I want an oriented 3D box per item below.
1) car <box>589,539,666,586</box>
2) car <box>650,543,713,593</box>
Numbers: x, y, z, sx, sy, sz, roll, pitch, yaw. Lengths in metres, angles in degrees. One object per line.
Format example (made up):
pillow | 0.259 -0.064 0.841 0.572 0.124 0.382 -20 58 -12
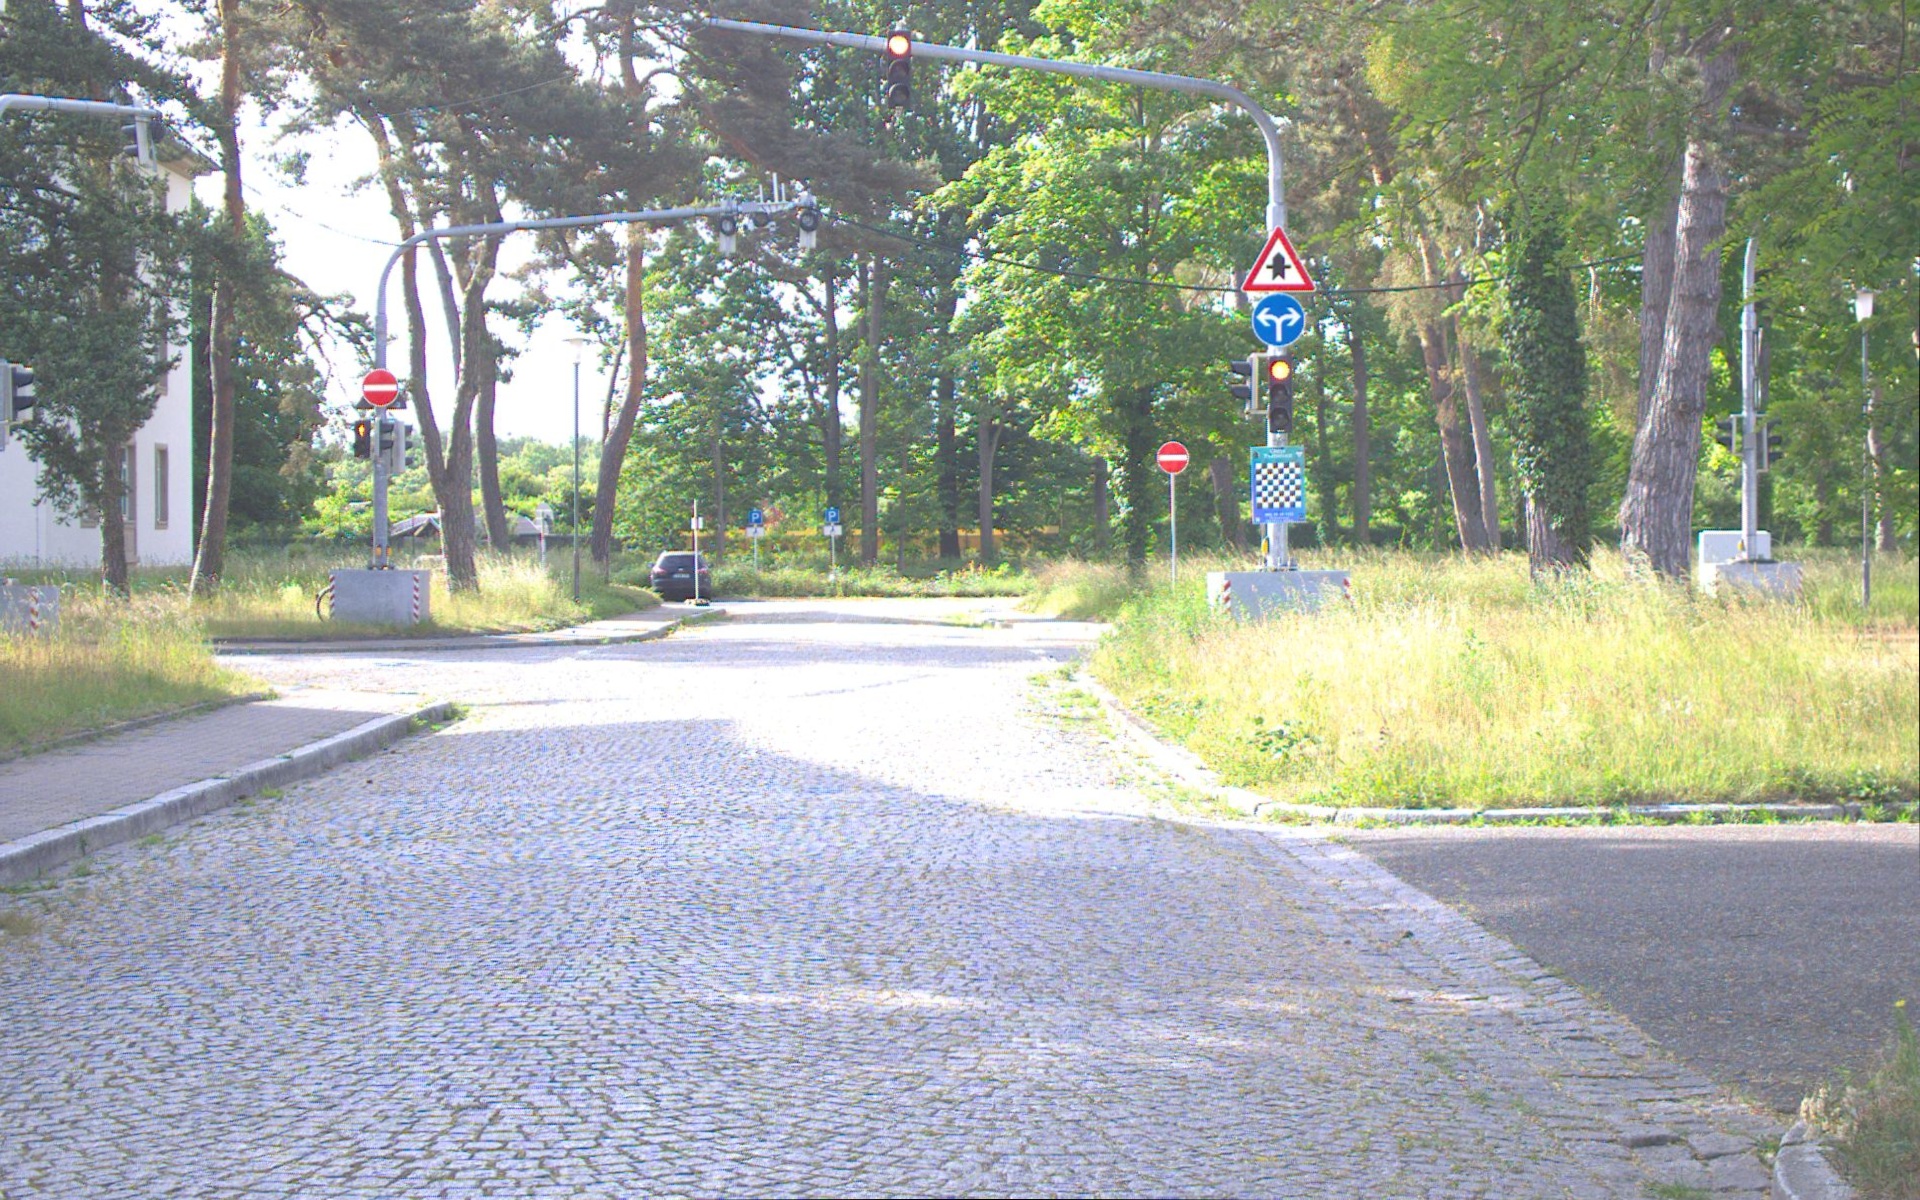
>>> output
car | -10.699 -1.209 110.820 1.783 1.485 3.754 0 1 6
car | -8.566 -0.999 106.083 1.844 1.481 4.001 0 1 -4
